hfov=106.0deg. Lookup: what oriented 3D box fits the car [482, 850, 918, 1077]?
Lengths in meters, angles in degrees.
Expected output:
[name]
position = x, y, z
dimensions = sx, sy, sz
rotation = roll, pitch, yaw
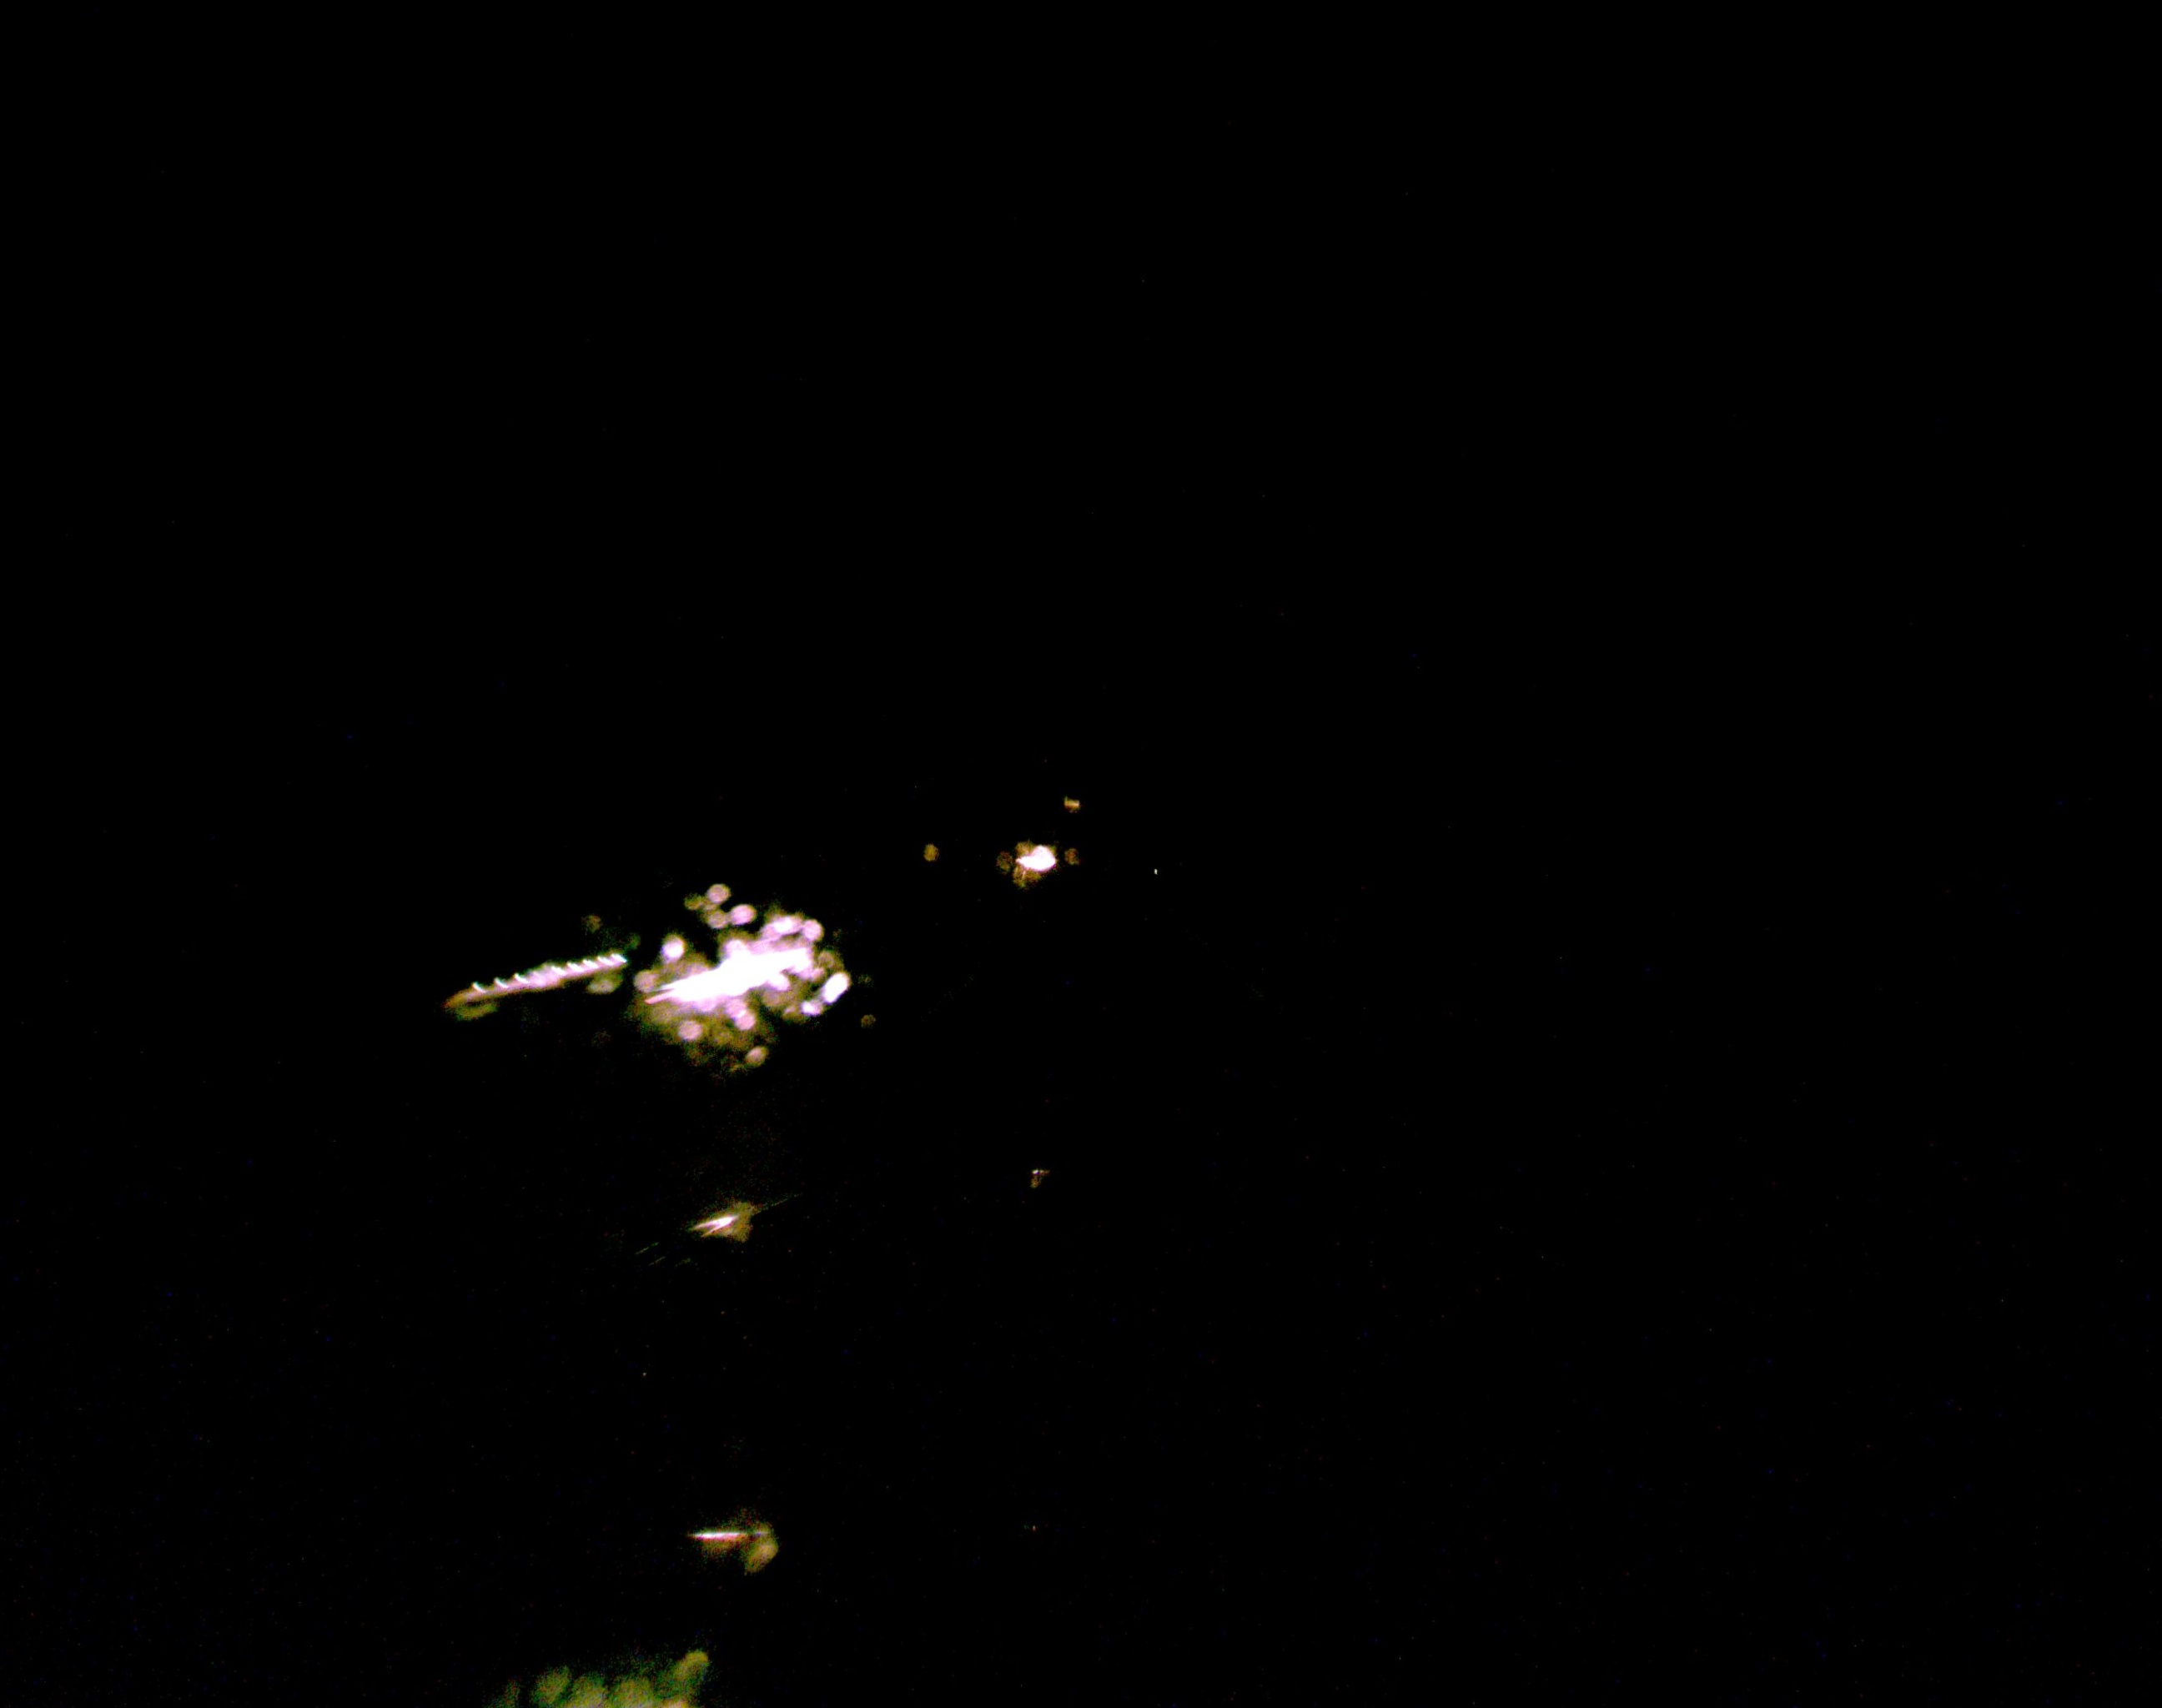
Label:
[car]
position = -3.096, 0.758, 7.944
dimensions = 1.848, 1.521, 4.683
rotation = 1, 0, 2
